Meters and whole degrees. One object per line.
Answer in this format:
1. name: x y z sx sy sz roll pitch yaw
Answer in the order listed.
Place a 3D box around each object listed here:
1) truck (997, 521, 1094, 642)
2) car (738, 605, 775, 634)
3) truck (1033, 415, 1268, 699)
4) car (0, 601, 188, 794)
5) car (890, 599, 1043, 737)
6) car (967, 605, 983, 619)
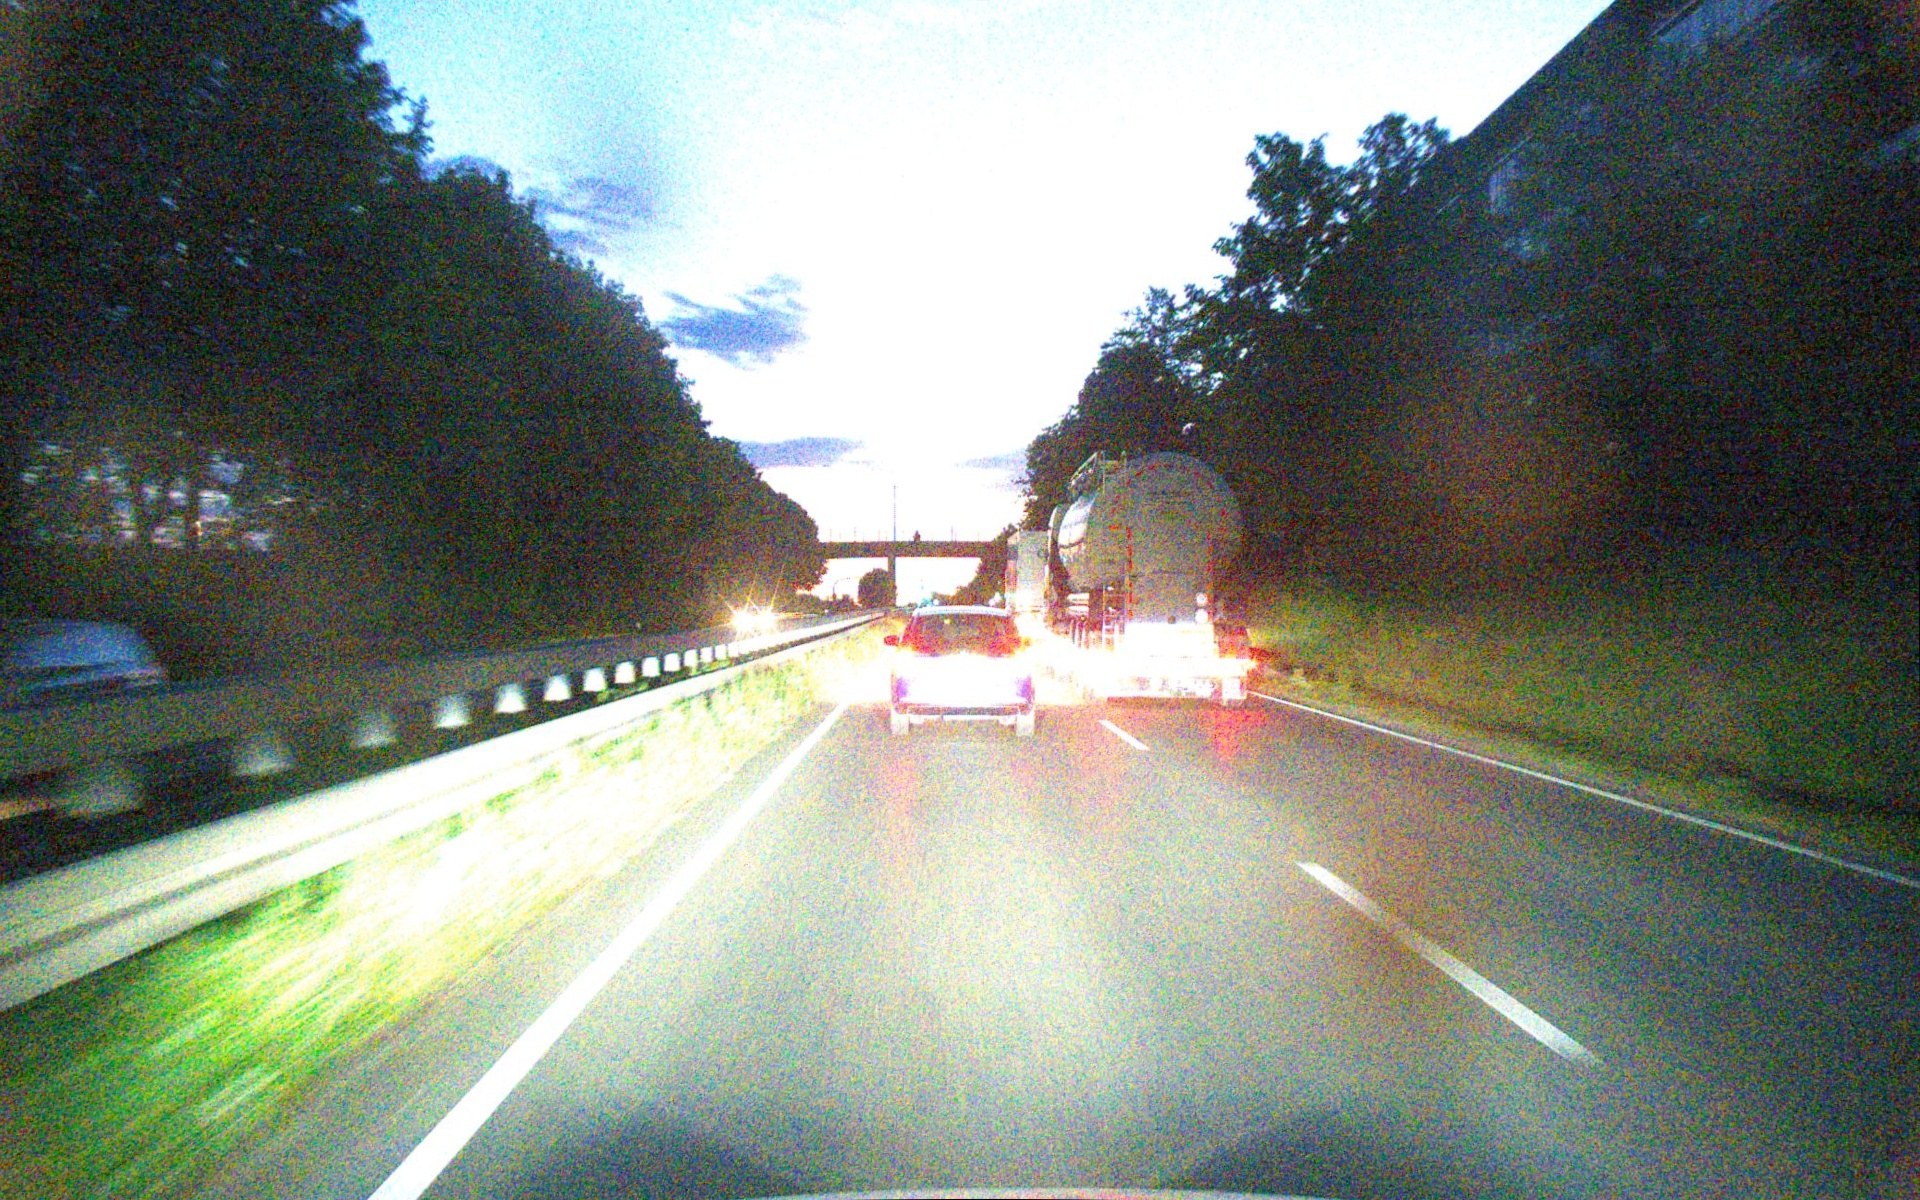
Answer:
1. truck: 3.130 -0.590 63.952 2.824 4.178 12.679 1 -1 -1
2. car: -11.079 1.039 90.241 1.584 1.533 3.868 1 -1 -1
3. truck: 3.112 -0.580 31.048 2.633 4.178 13.137 1 -1 -1
4. car: -9.002 0.828 15.461 1.648 1.615 4.165 1 0 -1
5. car: 0.038 0.759 20.004 1.661 1.478 3.913 1 -1 -1
6. car: 1.650 1.351 181.169 1.661 1.478 3.913 1 -1 -1
